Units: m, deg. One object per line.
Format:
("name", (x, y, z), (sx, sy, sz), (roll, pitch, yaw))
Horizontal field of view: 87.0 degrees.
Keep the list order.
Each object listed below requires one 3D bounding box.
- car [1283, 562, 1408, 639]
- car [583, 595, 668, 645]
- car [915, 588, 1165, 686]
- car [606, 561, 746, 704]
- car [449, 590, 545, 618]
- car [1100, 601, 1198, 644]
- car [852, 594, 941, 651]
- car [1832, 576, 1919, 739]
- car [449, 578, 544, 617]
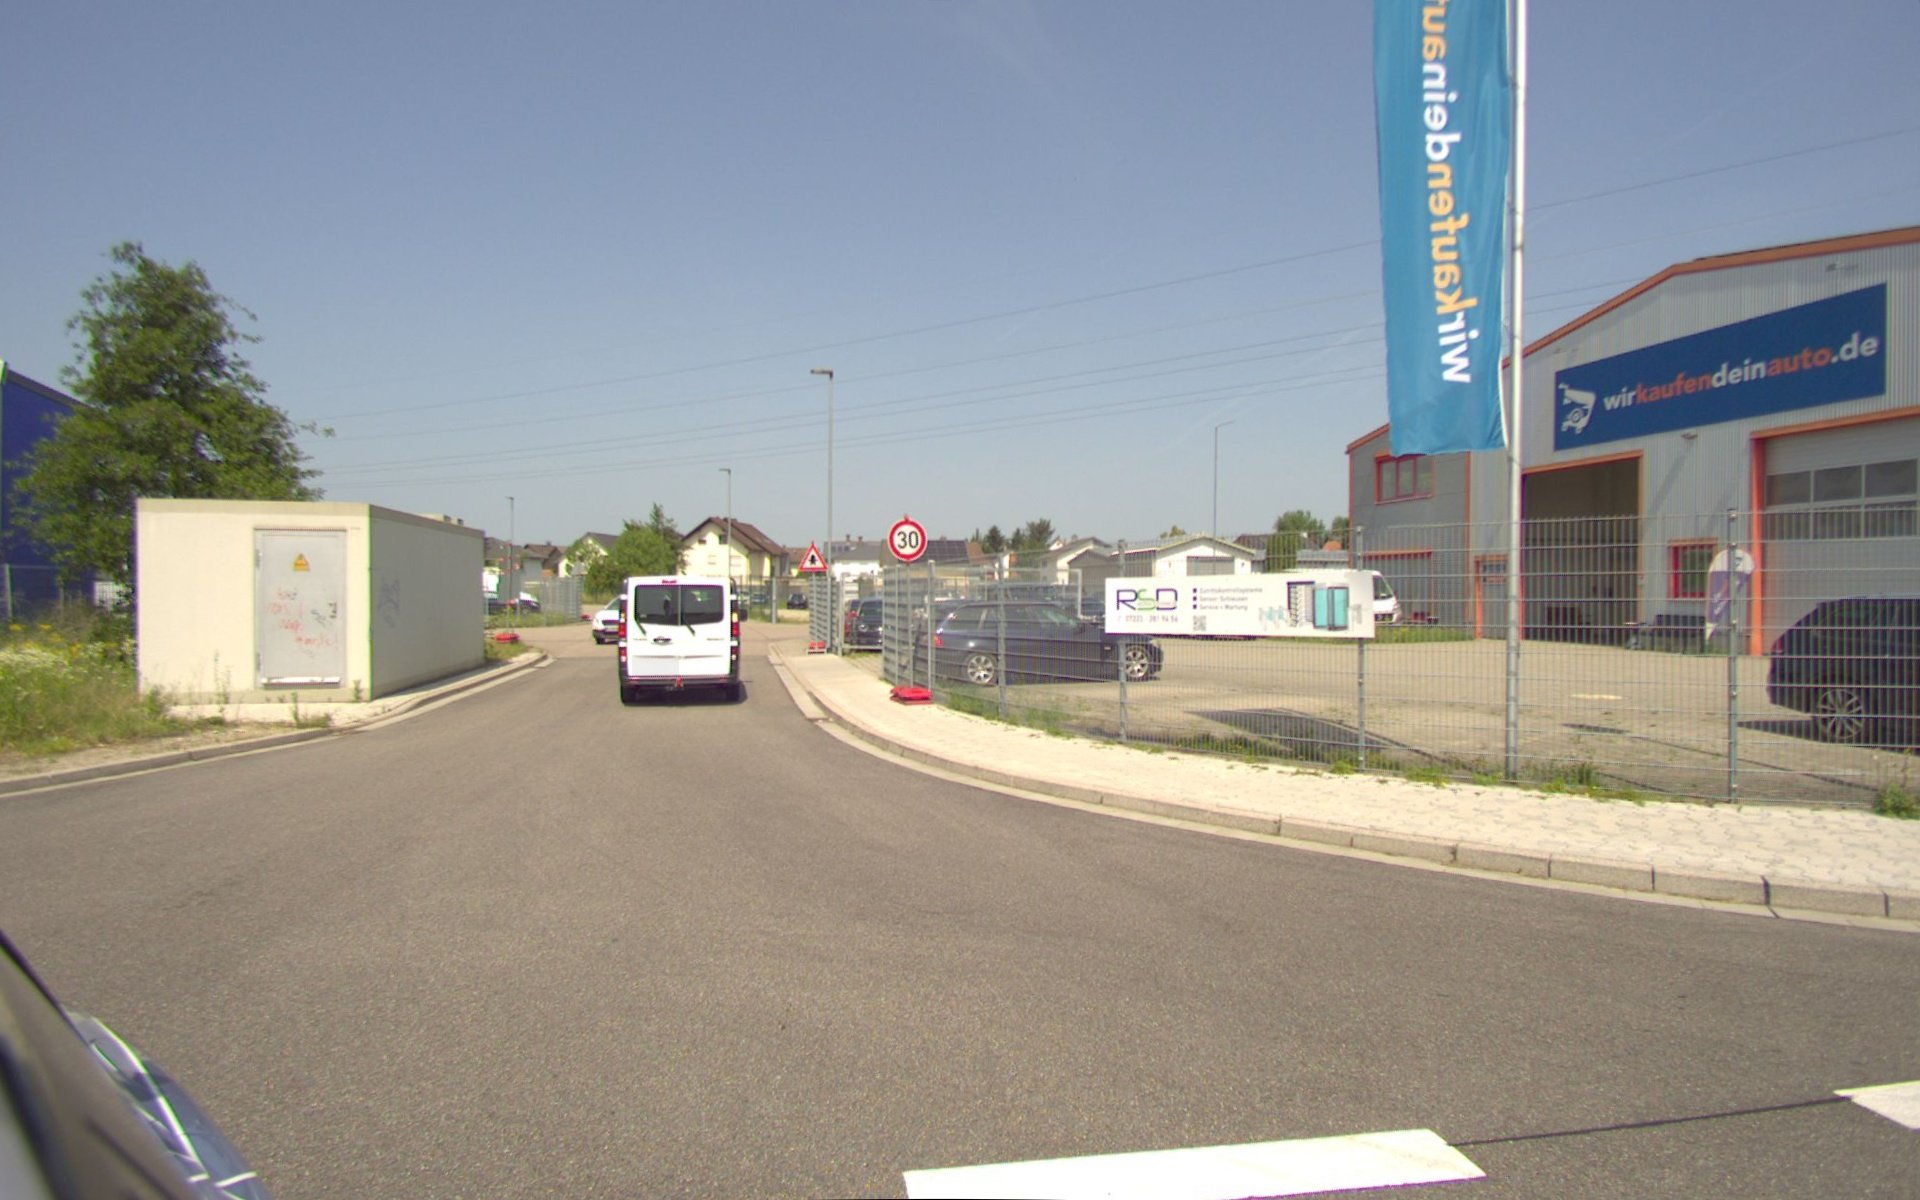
("car", (11.947, 0.036, 31.707), (1.970, 2.212, 4.326), (-1, -1, -4))
("car", (-10.772, 0.626, 32.861), (1.748, 1.514, 4.167), (0, 0, -5))
("car", (1.326, 0.598, 17.528), (3.934, 1.514, 1.779), (-1, -1, -12))
("car", (-4.777, 0.496, 17.301), (1.975, 2.076, 4.826), (0, -1, -14))
("car", (-24.165, 0.200, 52.974), (4.497, 1.438, 2.007), (0, -1, -24))
("car", (6.732, 0.795, 36.503), (1.867, 1.431, 4.211), (-1, -1, -14))
("car", (-1.922, 0.628, 29.418), (1.745, 1.514, 4.012), (-1, -1, -16))
("car", (10.096, 0.512, 8.409), (1.745, 1.514, 4.011), (-1, -1, -14))
("car", (-25.465, -0.137, 55.623), (4.573, 2.029, 2.006), (0, -1, -29))
